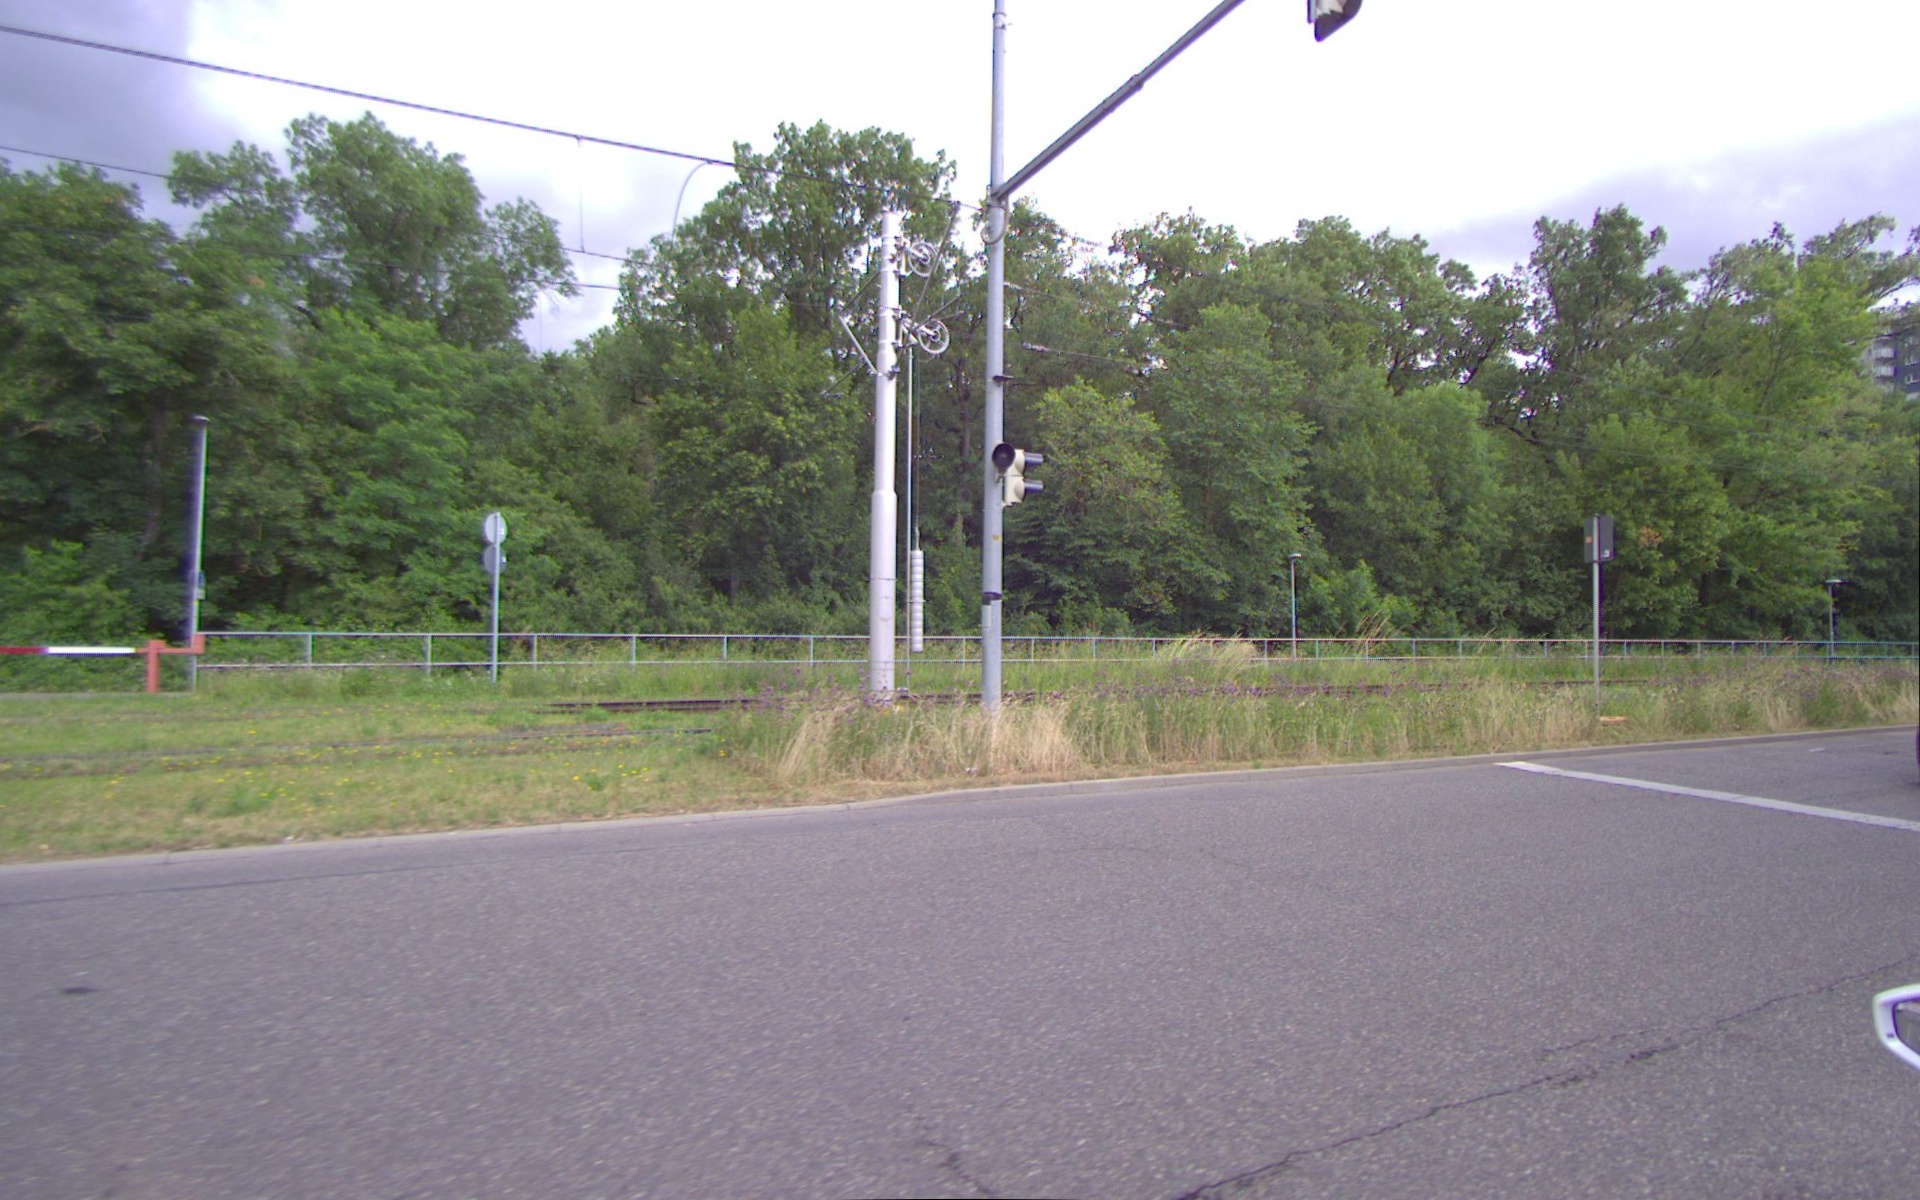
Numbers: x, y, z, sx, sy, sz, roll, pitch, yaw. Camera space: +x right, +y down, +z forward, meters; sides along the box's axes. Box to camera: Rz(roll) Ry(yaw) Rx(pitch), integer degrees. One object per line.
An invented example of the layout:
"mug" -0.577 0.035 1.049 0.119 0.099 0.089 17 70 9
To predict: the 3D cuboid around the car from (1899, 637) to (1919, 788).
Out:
"car" 11.539 1.140 10.220 4.377 1.453 1.747 2 -1 -30
